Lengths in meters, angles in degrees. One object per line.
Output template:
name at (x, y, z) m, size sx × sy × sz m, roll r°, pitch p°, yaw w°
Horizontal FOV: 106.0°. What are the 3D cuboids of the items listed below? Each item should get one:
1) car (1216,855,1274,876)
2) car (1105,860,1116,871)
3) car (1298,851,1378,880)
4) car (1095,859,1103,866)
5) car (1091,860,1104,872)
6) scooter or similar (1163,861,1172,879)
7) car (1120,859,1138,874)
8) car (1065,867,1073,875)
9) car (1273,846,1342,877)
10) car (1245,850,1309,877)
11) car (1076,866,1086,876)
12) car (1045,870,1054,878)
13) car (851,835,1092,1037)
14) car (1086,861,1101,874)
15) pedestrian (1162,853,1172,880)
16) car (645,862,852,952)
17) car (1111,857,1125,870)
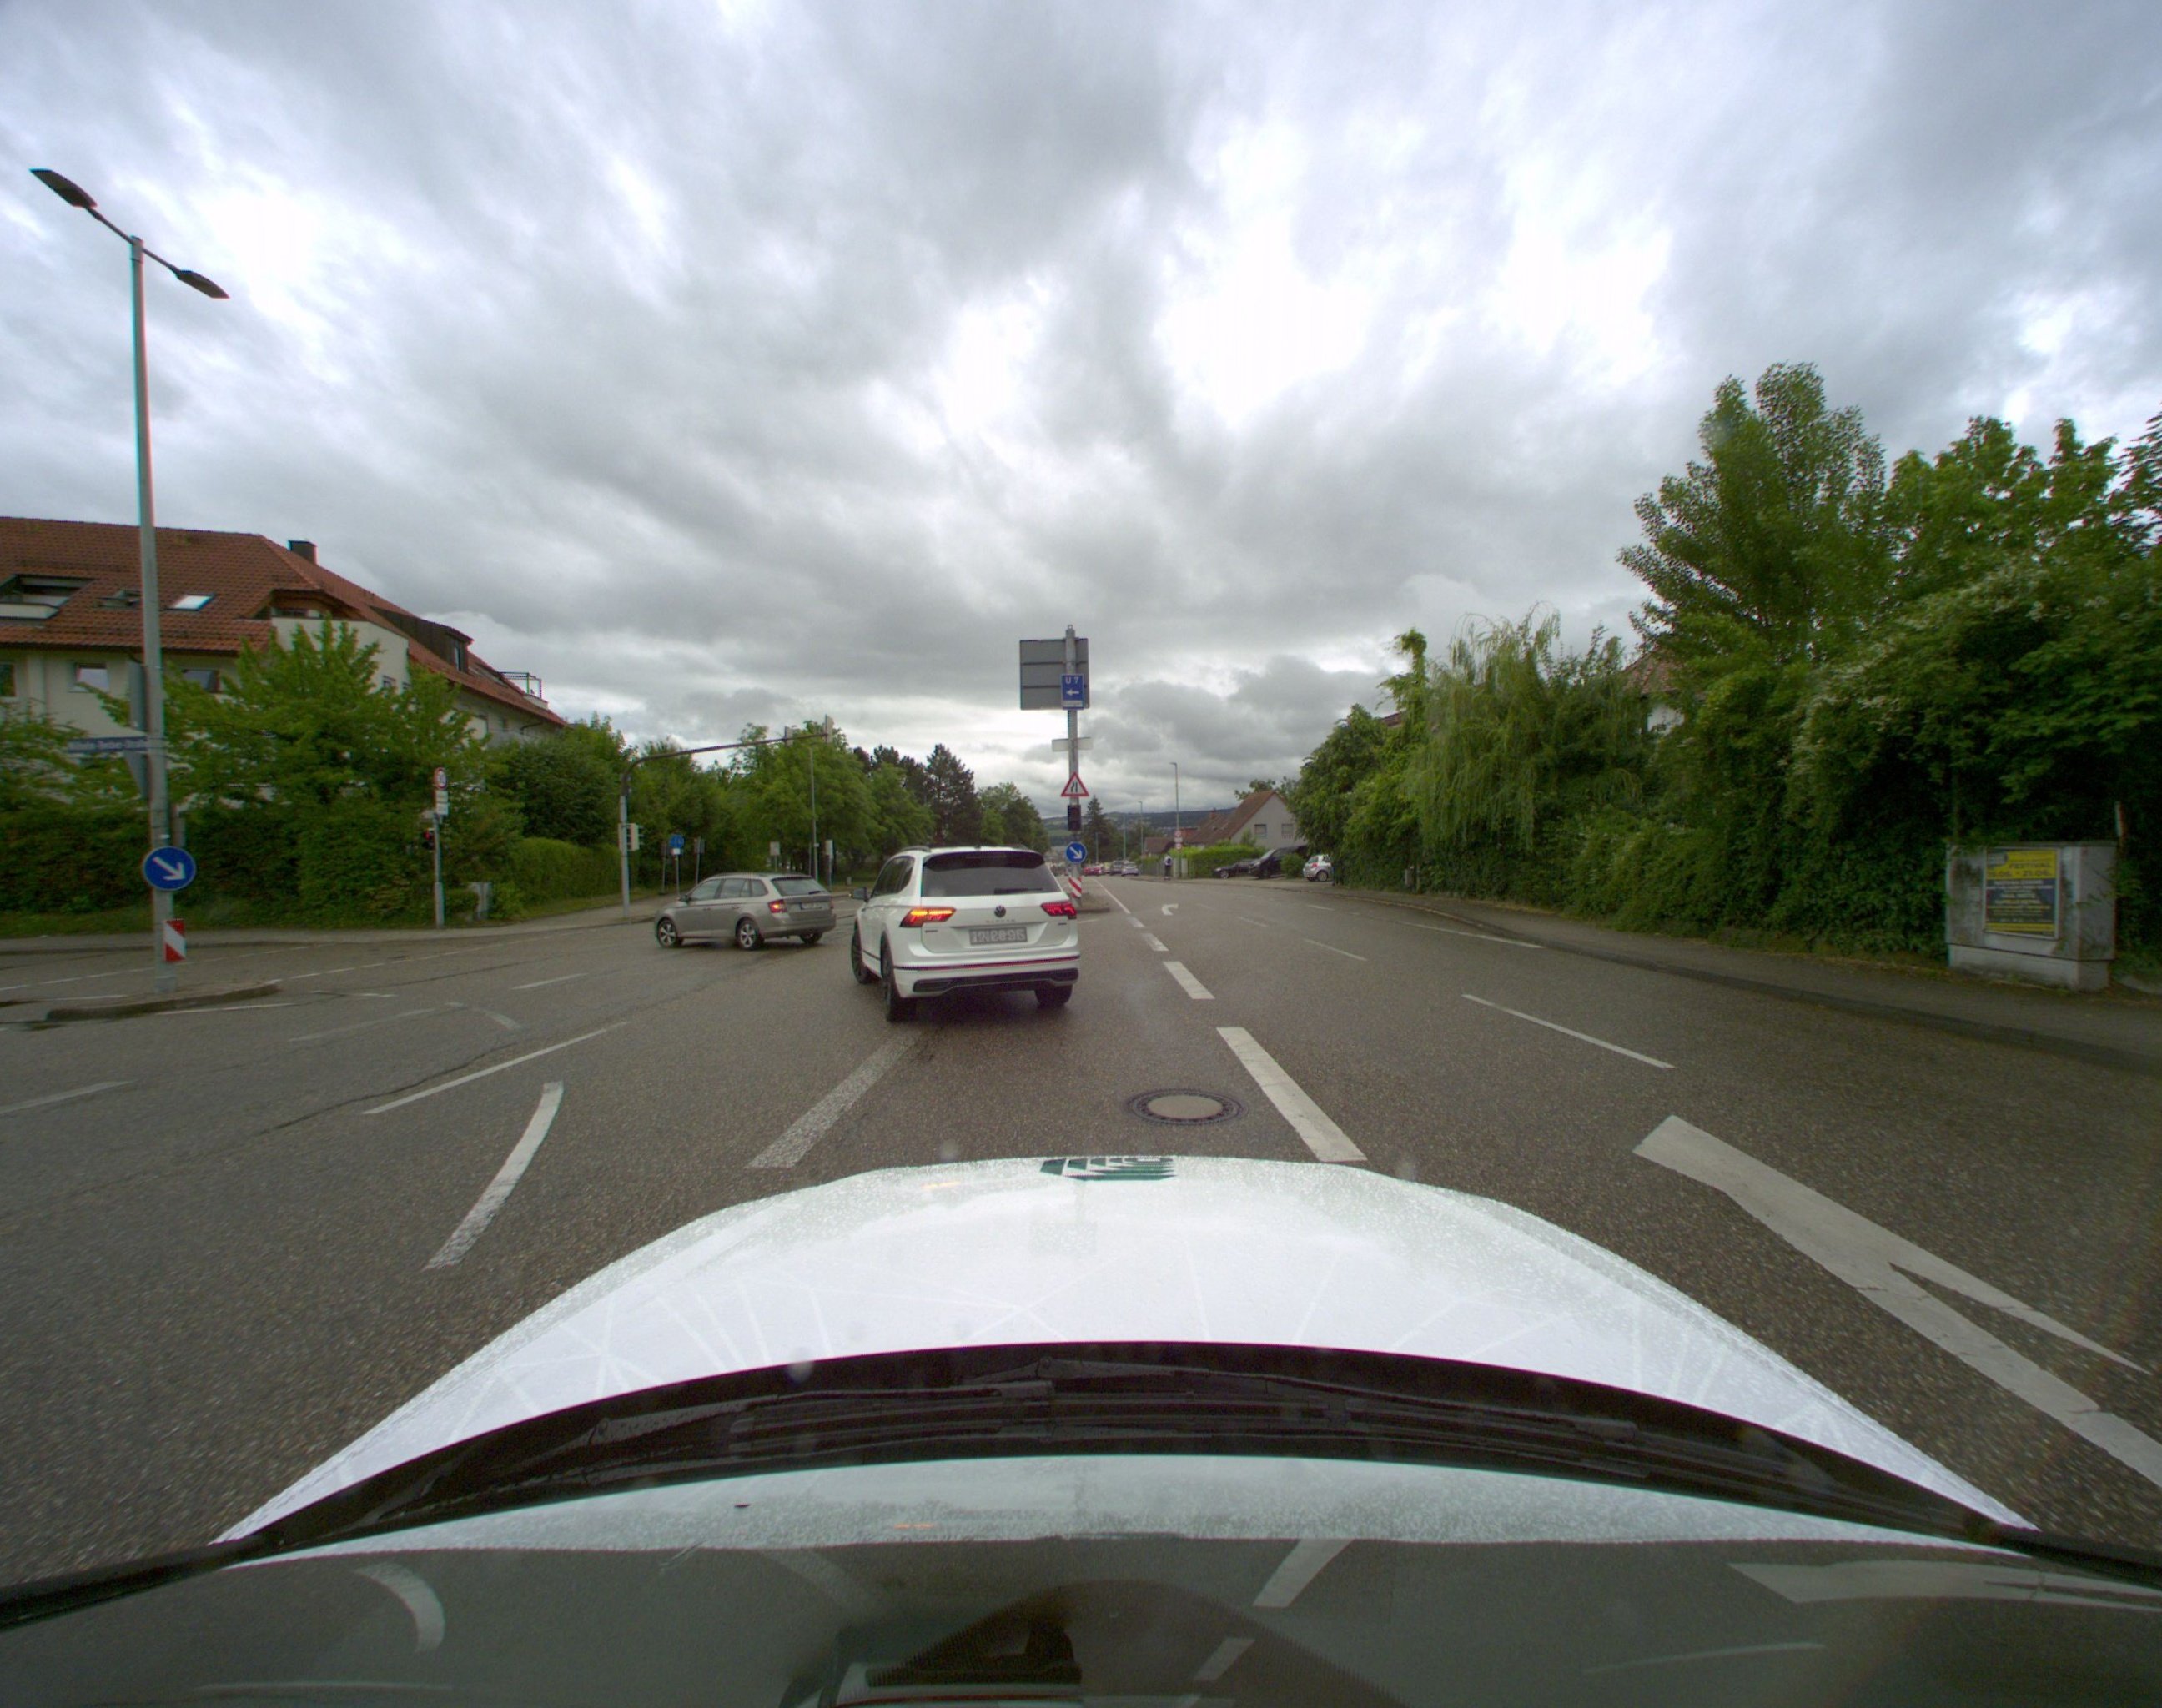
car at (11.361, 0.816, 56.564) m, size 3.676 × 1.370 × 1.518 m, roll -1°, pitch -2°, yaw -1°
car at (4.808, 1.872, 132.640) m, size 1.844 × 1.574 × 4.002 m, roll -2°, pitch 0°, yaw 2°
car at (13.777, 0.612, 43.831) m, size 3.709 × 1.395 × 1.725 m, roll -2°, pitch -1°, yaw -6°
car at (4.184, 2.027, 189.639) m, size 1.844 × 1.574 × 4.002 m, roll -2°, pitch 0°, yaw 2°
car at (2.280, 1.642, 113.789) m, size 1.732 × 1.574 × 4.002 m, roll -2°, pitch 0°, yaw 2°
scooter or similar at (6.443, 1.185, 60.480) m, size 0.460 × 1.361 × 1.383 m, roll -1°, pitch 0°, yaw -2°
car at (5.285, 1.412, 89.277) m, size 1.844 × 1.574 × 4.001 m, roll 0°, pitch -1°, yaw 2°
car at (-2.823, 4.043, 194.468) m, size 1.880 × 1.794 × 4.000 m, roll -1°, pitch 0°, yaw 1°
car at (13.672, 0.418, 49.227) m, size 3.618 × 1.746 × 1.706 m, roll -1°, pitch 0°, yaw -3°
car at (12.383, 0.616, 51.623) m, size 3.619 × 1.626 × 1.789 m, roll -1°, pitch 0°, yaw -3°
car at (-0.073, 3.492, 166.328) m, size 1.880 × 1.794 × 4.002 m, roll -1°, pitch 0°, yaw 2°
car at (-7.286, 4.654, 187.695) m, size 1.838 × 1.717 × 4.001 m, roll -1°, pitch 0°, yaw 1°
car at (-1.475, 0.697, 9.160) m, size 1.769 × 1.696 × 4.243 m, roll -1°, pitch 0°, yaw -21°
car at (1.596, 1.658, 100.973) m, size 1.748 × 1.574 × 4.002 m, roll -2°, pitch 0°, yaw 2°
pedestrian at (6.375, 0.935, 60.406) m, size 0.654 × 2.002 × 0.717 m, roll -1°, pitch 0°, yaw -2°
car at (-6.726, 1.020, 16.429) m, size 3.876 × 1.589 × 1.816 m, roll -2°, pitch 0°, yaw 30°
car at (4.903, 1.250, 107.683) m, size 1.844 × 1.574 × 4.002 m, roll 0°, pitch 0°, yaw 2°
